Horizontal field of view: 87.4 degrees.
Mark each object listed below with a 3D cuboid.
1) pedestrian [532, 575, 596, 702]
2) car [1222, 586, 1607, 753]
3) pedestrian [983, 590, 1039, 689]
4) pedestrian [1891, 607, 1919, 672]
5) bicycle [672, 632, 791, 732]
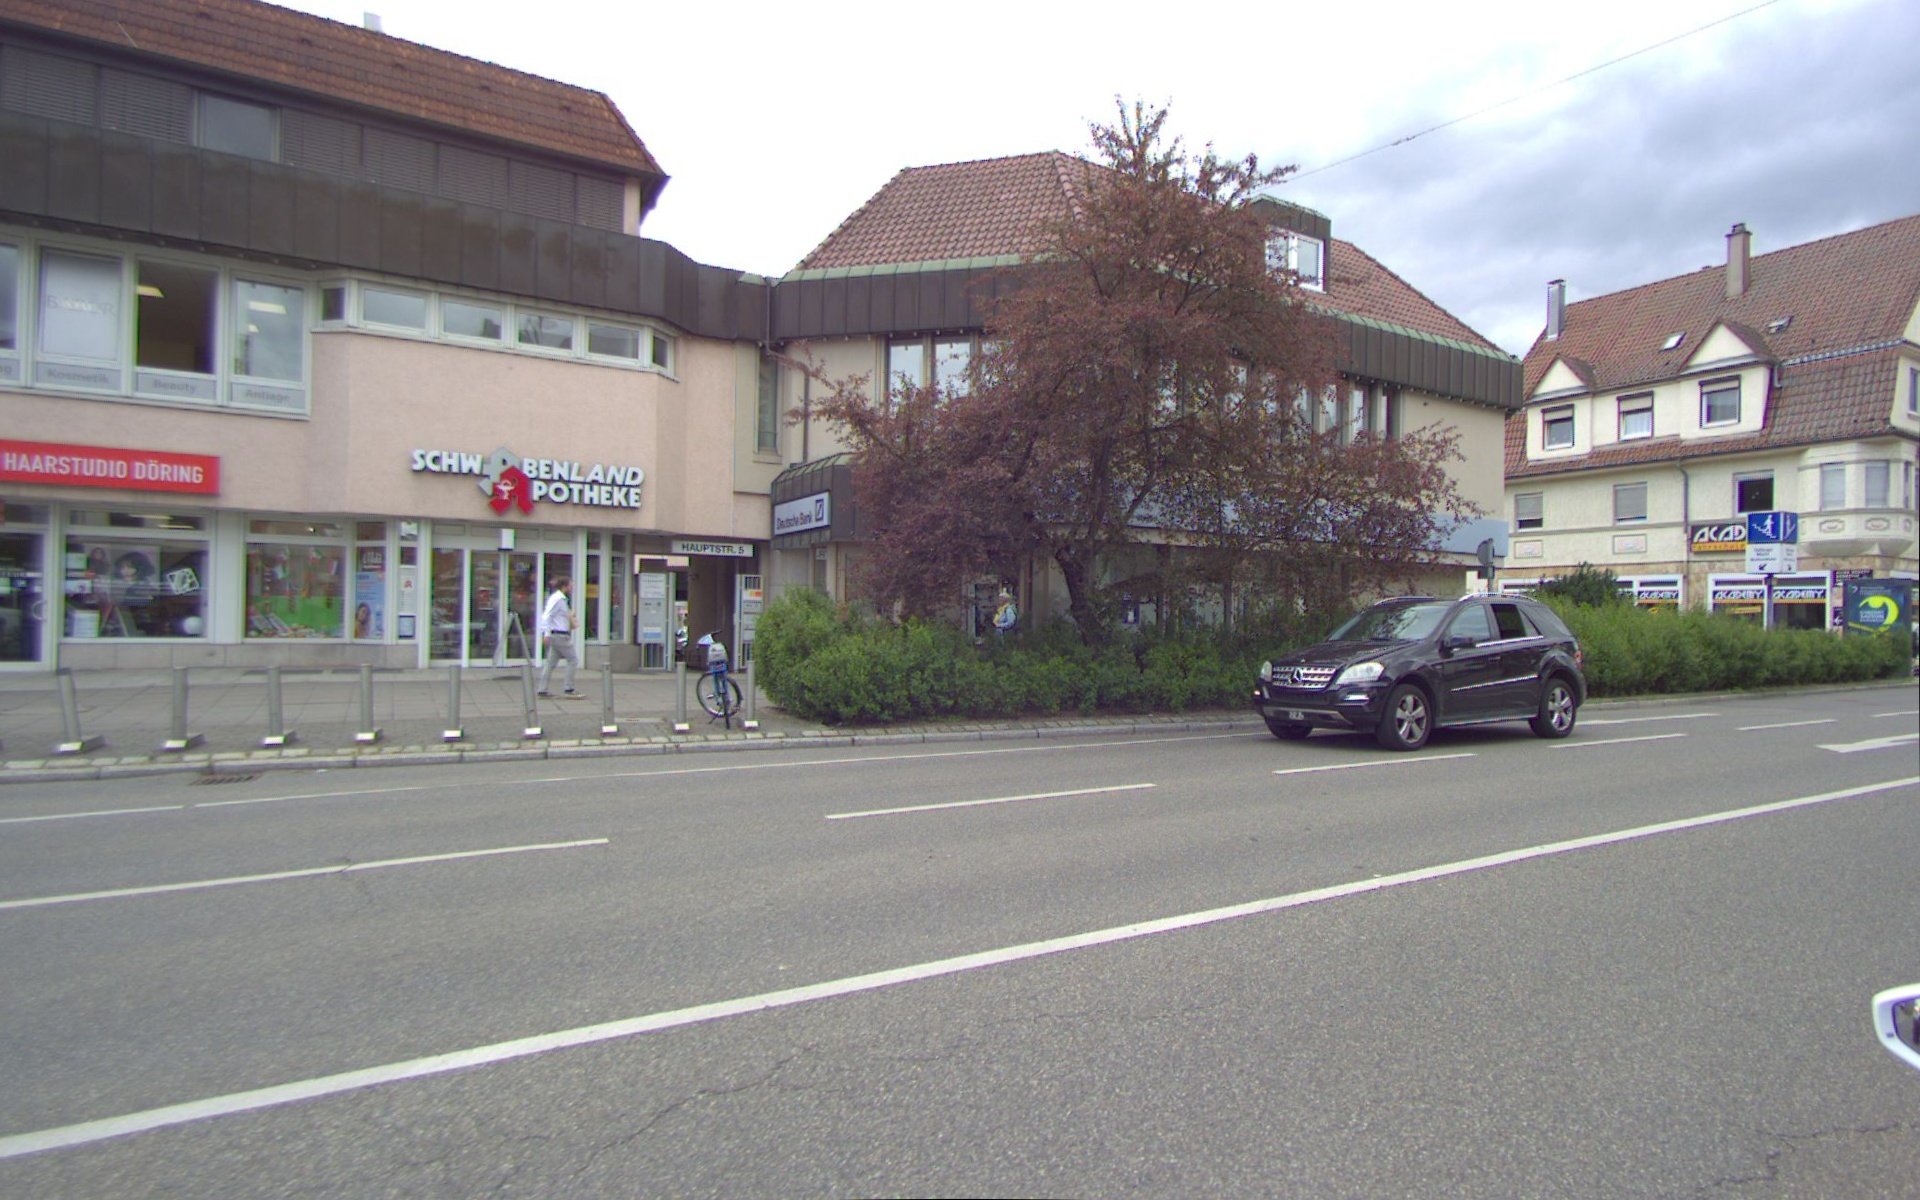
[{"bbox_3d":[-5.814,0.541,14.730,0.747,1.788,0.721,0,3,-32],"label":"pedestrian"},{"bbox_3d":[5.750,0.800,12.624,4.635,1.761,2.060,1,-2,-29],"label":"car"},{"bbox_3d":[0.961,0.730,19.006,0.745,1.788,0.723,1,4,-26],"label":"pedestrian"},{"bbox_3d":[27.555,1.138,29.124,0.672,1.848,0.630,1,-1,-30],"label":"pedestrian"},{"bbox_3d":[-2.888,0.971,12.562,0.643,1.105,2.002,1,-1,-39],"label":"bicycle"}]
